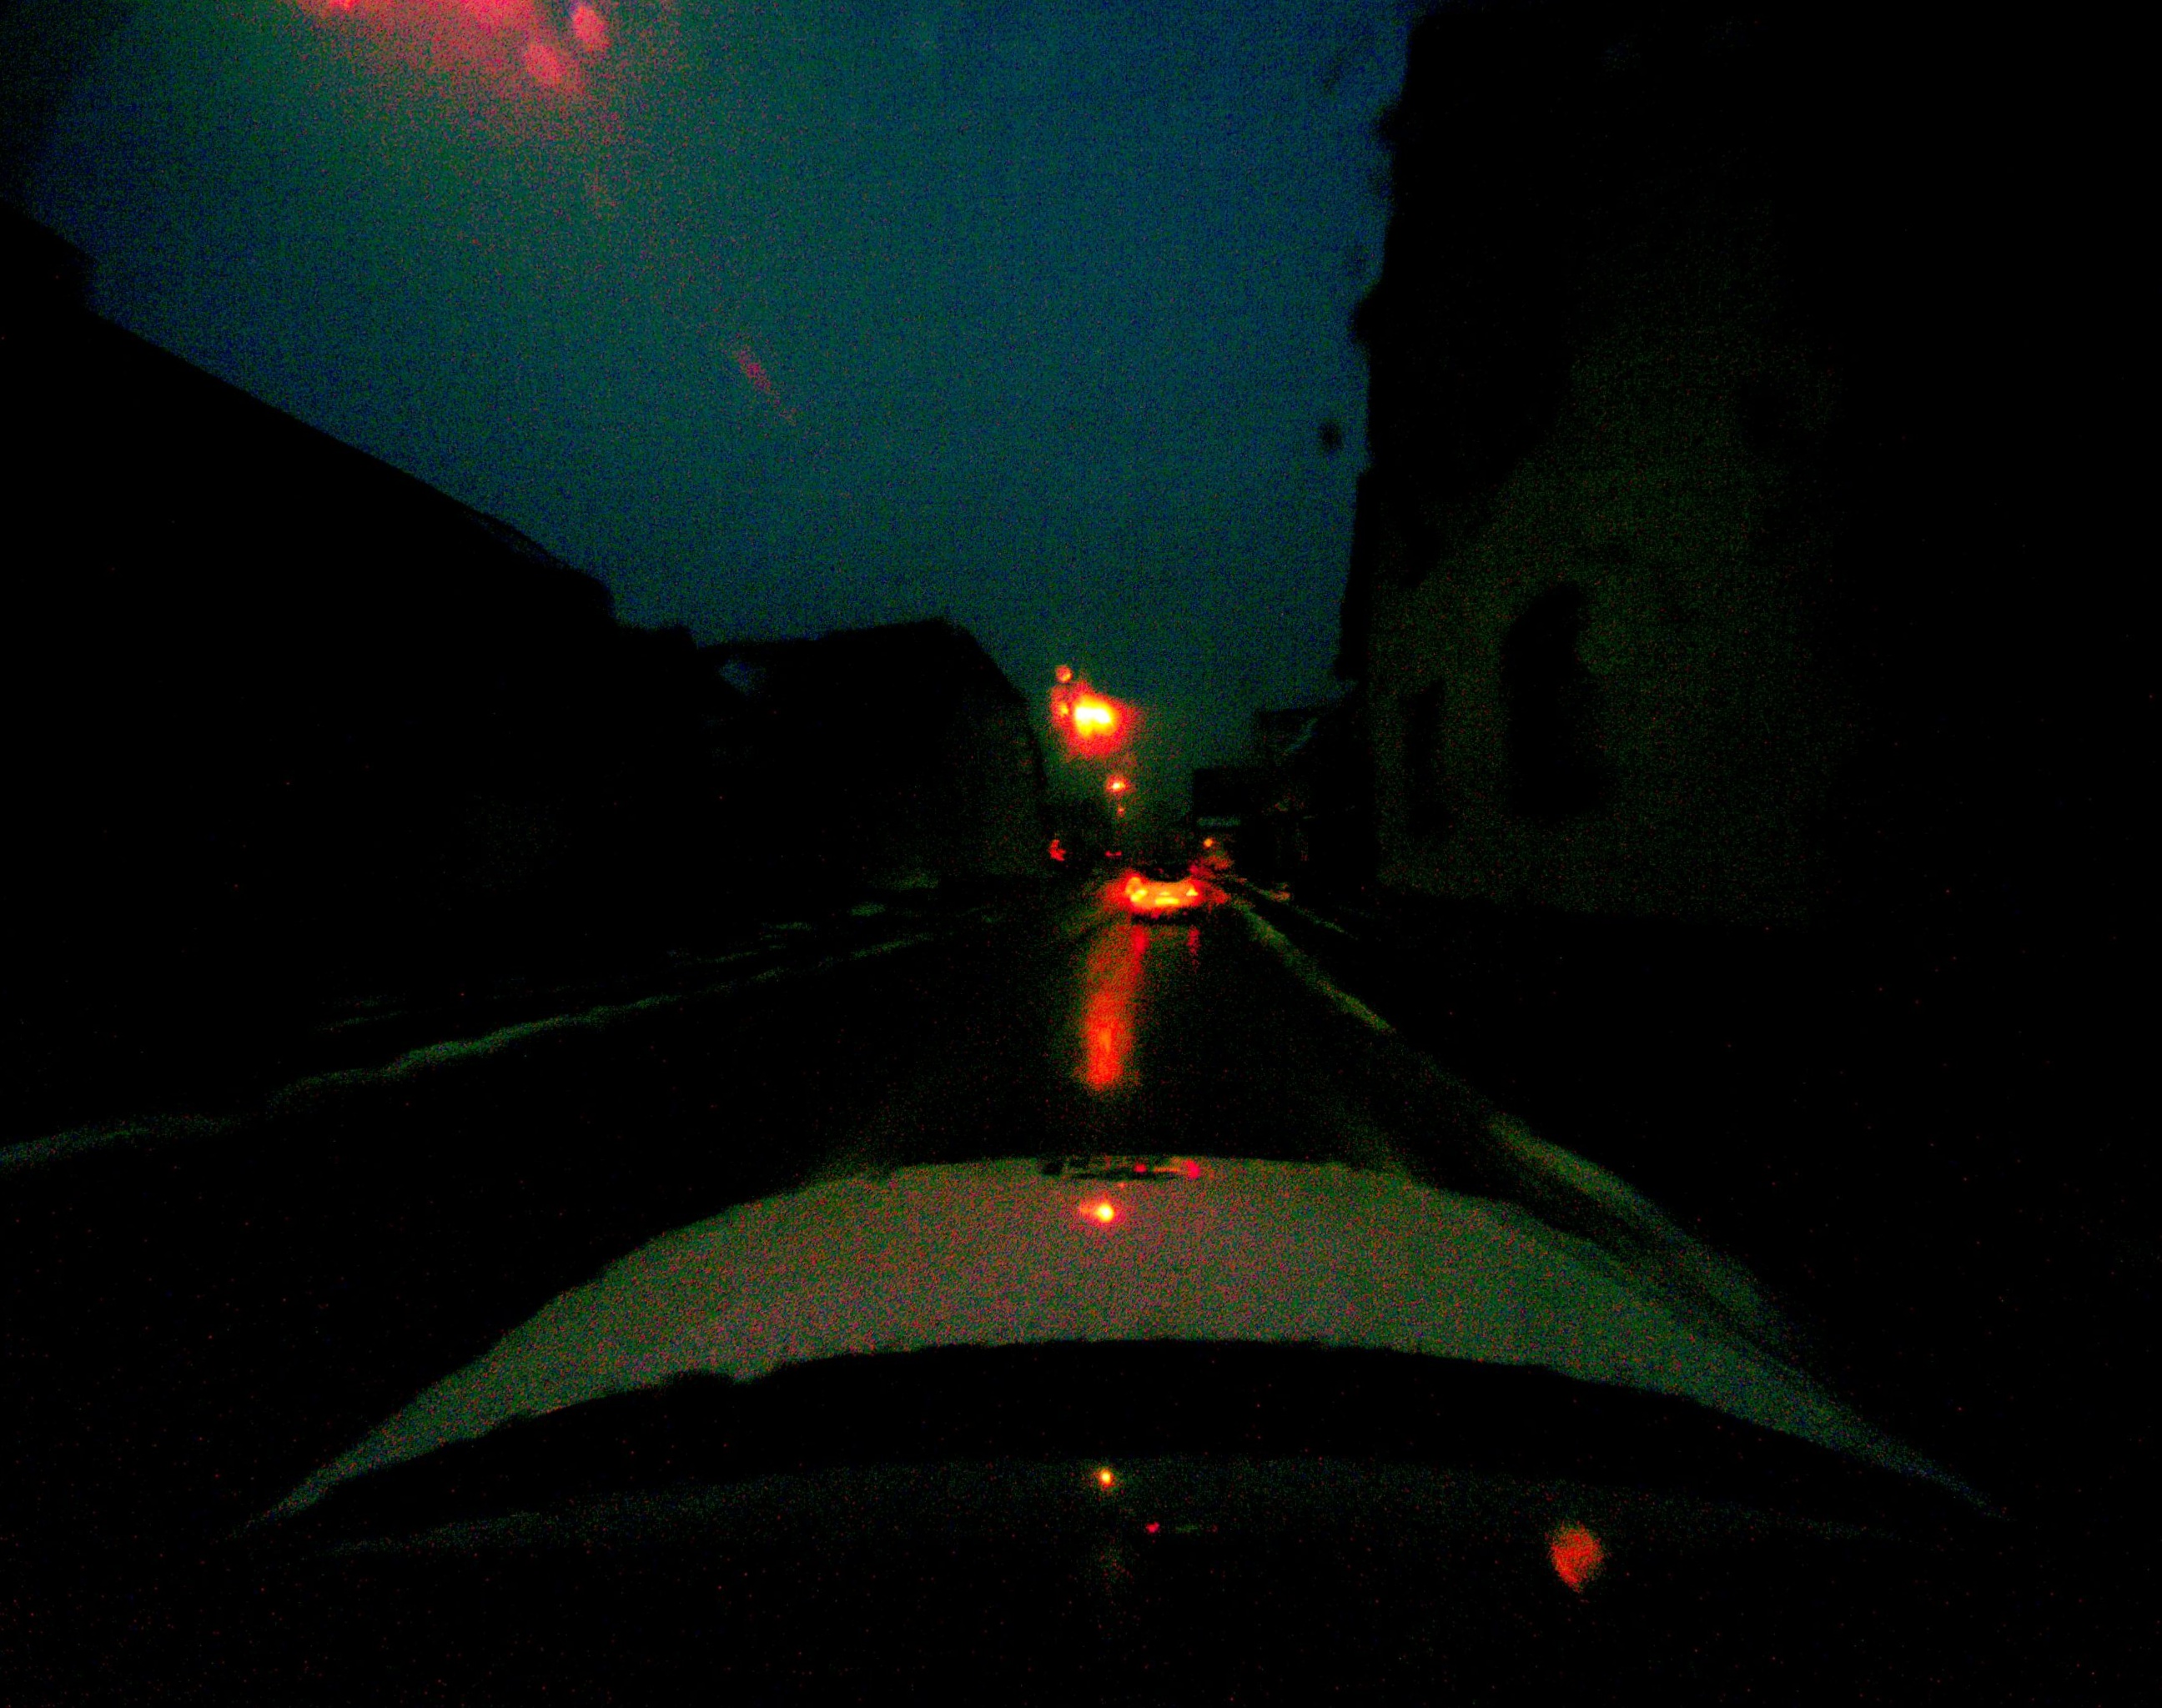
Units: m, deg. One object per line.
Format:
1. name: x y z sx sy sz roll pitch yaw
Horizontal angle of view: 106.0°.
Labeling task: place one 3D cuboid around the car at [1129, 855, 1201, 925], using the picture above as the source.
1. car: 2.168 0.876 20.674 1.636 1.596 3.707 -1 -1 7

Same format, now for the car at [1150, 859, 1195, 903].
1. car: 3.664 1.041 32.189 1.636 1.596 3.707 -1 -1 7
